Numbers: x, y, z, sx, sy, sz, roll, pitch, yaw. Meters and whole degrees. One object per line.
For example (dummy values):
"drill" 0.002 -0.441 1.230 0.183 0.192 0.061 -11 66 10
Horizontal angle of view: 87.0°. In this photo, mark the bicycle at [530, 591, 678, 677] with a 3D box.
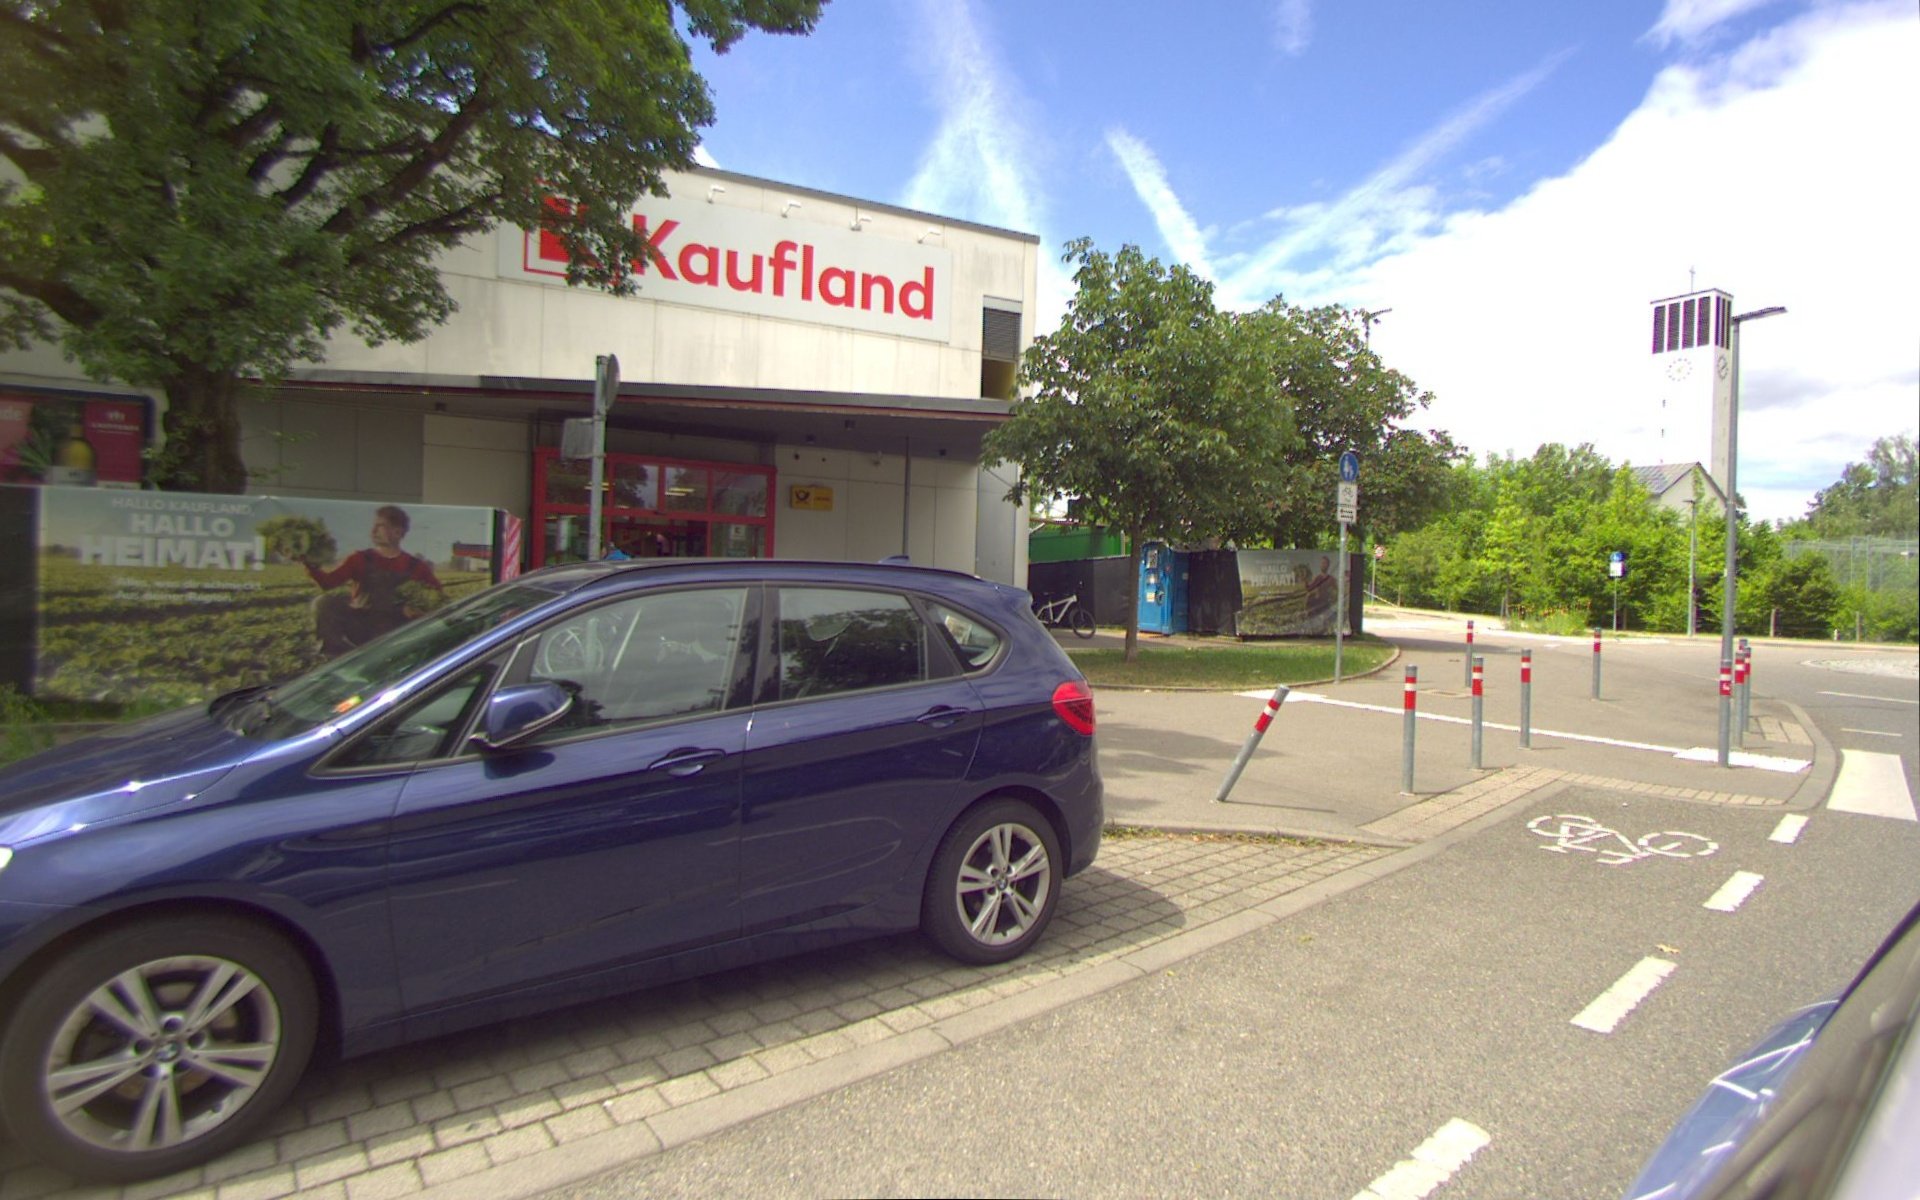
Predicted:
"bicycle" -4.667 0.424 13.299 1.765 1.053 0.522 0 1 -30

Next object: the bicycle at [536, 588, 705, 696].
"bicycle" -3.788 0.464 11.386 1.753 1.170 0.452 1 0 -12

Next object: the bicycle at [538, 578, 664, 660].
"bicycle" -5.328 0.274 15.046 1.731 1.170 0.440 0 0 -24

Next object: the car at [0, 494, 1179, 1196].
"car" -1.379 0.516 4.011 4.345 1.597 1.924 0 2 -35

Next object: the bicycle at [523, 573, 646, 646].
"bicycle" -6.190 0.159 16.746 1.873 1.170 0.531 0 0 -20

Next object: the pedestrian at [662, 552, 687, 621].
"pedestrian" -6.665 -0.328 23.614 0.485 1.586 0.628 1 1 -22

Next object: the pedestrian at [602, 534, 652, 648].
"pedestrian" -5.331 -0.150 16.193 0.732 1.778 0.626 1 3 -20

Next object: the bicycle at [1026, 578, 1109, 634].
"bicycle" 2.450 0.119 23.159 1.760 1.249 0.707 1 0 33

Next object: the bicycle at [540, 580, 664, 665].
"bicycle" -5.089 0.305 14.409 1.627 1.170 0.427 0 0 -23

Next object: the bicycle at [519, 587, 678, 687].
"bicycle" -4.329 0.443 12.216 1.736 1.170 0.502 1 0 -8
